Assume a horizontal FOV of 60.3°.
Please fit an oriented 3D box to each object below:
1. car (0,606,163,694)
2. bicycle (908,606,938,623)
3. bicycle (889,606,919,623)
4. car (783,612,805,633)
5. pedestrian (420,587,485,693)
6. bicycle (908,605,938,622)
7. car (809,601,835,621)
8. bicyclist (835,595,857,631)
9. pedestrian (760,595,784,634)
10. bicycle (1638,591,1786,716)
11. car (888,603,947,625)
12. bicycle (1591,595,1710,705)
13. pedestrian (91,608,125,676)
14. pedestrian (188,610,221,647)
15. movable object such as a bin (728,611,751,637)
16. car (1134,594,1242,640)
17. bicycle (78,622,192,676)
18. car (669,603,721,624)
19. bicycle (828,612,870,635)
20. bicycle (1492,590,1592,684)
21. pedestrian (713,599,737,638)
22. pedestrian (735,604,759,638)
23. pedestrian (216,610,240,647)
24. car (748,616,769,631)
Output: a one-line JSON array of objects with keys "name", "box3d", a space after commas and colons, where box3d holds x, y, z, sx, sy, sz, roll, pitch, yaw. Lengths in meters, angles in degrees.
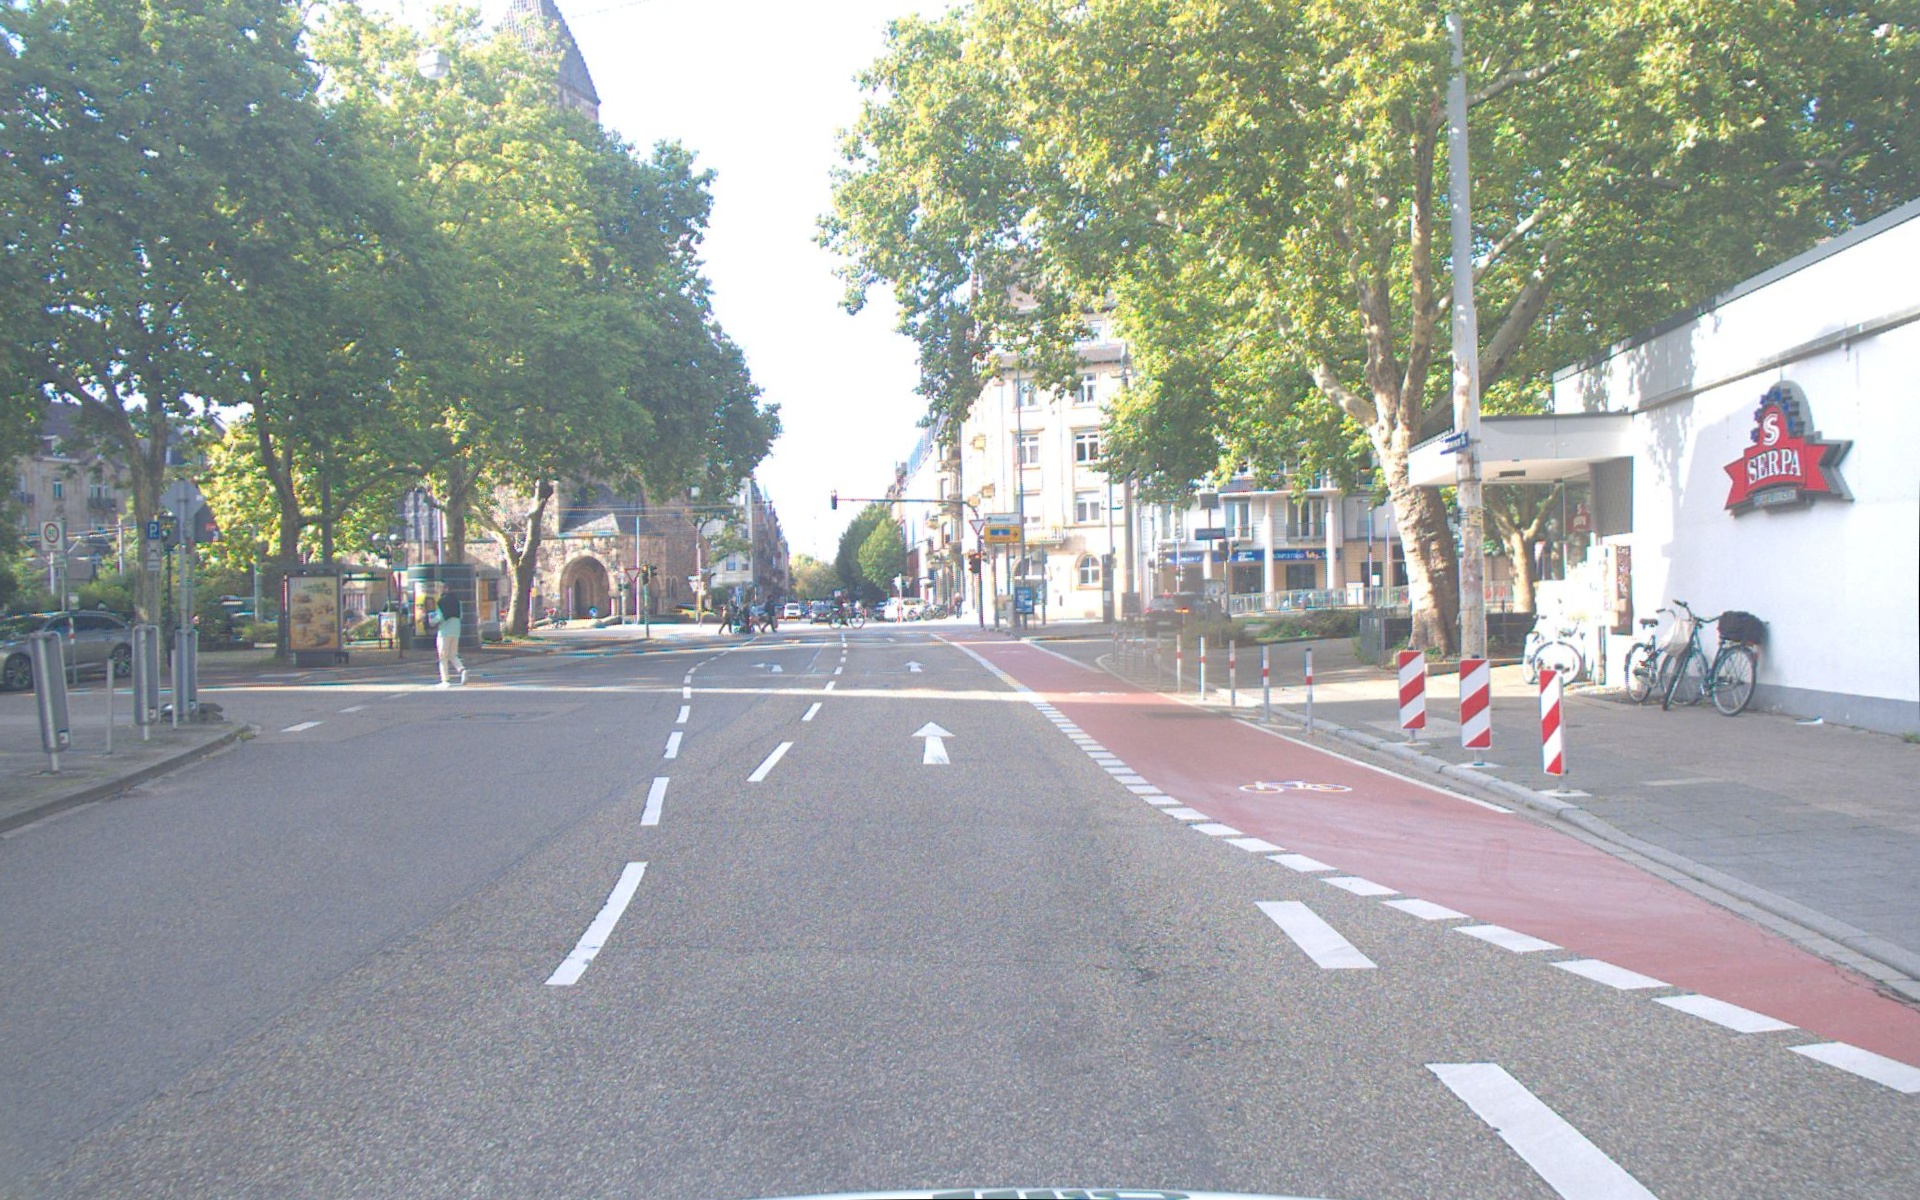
[{"name": "car", "box3d": [-18.874, 0.988, 33.740, 2.186, 1.613, 4.979, -2, 0, 10]}, {"name": "bicycle", "box3d": [-2.567, 0.989, 114.803, 1.988, 1.101, 0.628, -2, 0, -14]}, {"name": "bicycle", "box3d": [-3.859, 0.973, 114.177, 1.988, 1.101, 0.618, -2, 0, -14]}, {"name": "car", "box3d": [-17.277, 2.312, 172.100, 1.953, 2.049, 3.999, -1, 0, -1]}, {"name": "pedestrian", "box3d": [-8.753, 0.676, 28.534, 1.057, 1.784, 0.915, 0, 0, -17]}, {"name": "bicycle", "box3d": [-2.569, 0.956, 114.118, 1.988, 1.101, 0.618, -2, 0, -14]}, {"name": "car", "box3d": [-10.331, 0.827, 123.875, 1.911, 1.396, 3.996, -1, 0, -4]}, {"name": "bicyclist", "box3d": [-5.229, 0.609, 75.811, 0.762, 1.607, 0.625, -2, 0, 21]}, {"name": "pedestrian", "box3d": [-8.302, 0.639, 72.933, 0.764, 1.691, 0.779, -1, 0, 18]}, {"name": "bicycle", "box3d": [8.009, 0.540, 17.703, 0.753, 1.227, 1.816, -3, 0, 2]}, {"name": "car", "box3d": [-3.010, 0.966, 116.499, 3.912, 1.445, 1.996, -2, 0, -8]}, {"name": "bicycle", "box3d": [8.121, 0.561, 19.527, 0.696, 1.227, 1.771, -1, 0, 2]}, {"name": "pedestrian", "box3d": [-21.969, 1.075, 42.675, 0.490, 1.745, 0.706, -1, 0, -3]}, {"name": "pedestrian", "box3d": [-27.150, 1.019, 59.424, 0.800, 1.311, 0.722, 1, -1, 28]}, {"name": "movable object such as a bin", "box3d": [-9.715, 1.048, 72.811, 0.820, 1.143, 0.575, -1, 0, 19]}, {"name": "car", "box3d": [7.549, 0.553, 54.534, 1.724, 1.438, 3.981, -1, 0, 39]}, {"name": "bicycle", "box3d": [-19.812, 1.180, 39.768, 1.360, 1.230, 2.103, -1, -2, 19]}, {"name": "car", "box3d": [-22.331, 1.152, 139.220, 3.969, 1.624, 1.839, -2, 0, -44]}, {"name": "bicycle", "box3d": [-5.087, 1.080, 75.764, 1.792, 0.972, 0.573, -2, 0, 22]}, {"name": "bicycle", "box3d": [8.187, 0.511, 23.332, 0.698, 1.227, 1.815, -4, -1, 1]}, {"name": "pedestrian", "box3d": [-10.361, 0.813, 73.014, 0.798, 1.657, 0.605, -2, 0, 20]}, {"name": "pedestrian", "box3d": [-9.230, 0.902, 71.649, 0.764, 1.457, 0.731, -1, 0, 19]}, {"name": "pedestrian", "box3d": [-26.178, 1.024, 59.133, 0.713, 1.311, 0.810, 1, -1, -30]}, {"name": "car", "box3d": [-18.101, 2.133, 148.755, 1.519, 1.251, 3.586, 0, 0, -2]}]
